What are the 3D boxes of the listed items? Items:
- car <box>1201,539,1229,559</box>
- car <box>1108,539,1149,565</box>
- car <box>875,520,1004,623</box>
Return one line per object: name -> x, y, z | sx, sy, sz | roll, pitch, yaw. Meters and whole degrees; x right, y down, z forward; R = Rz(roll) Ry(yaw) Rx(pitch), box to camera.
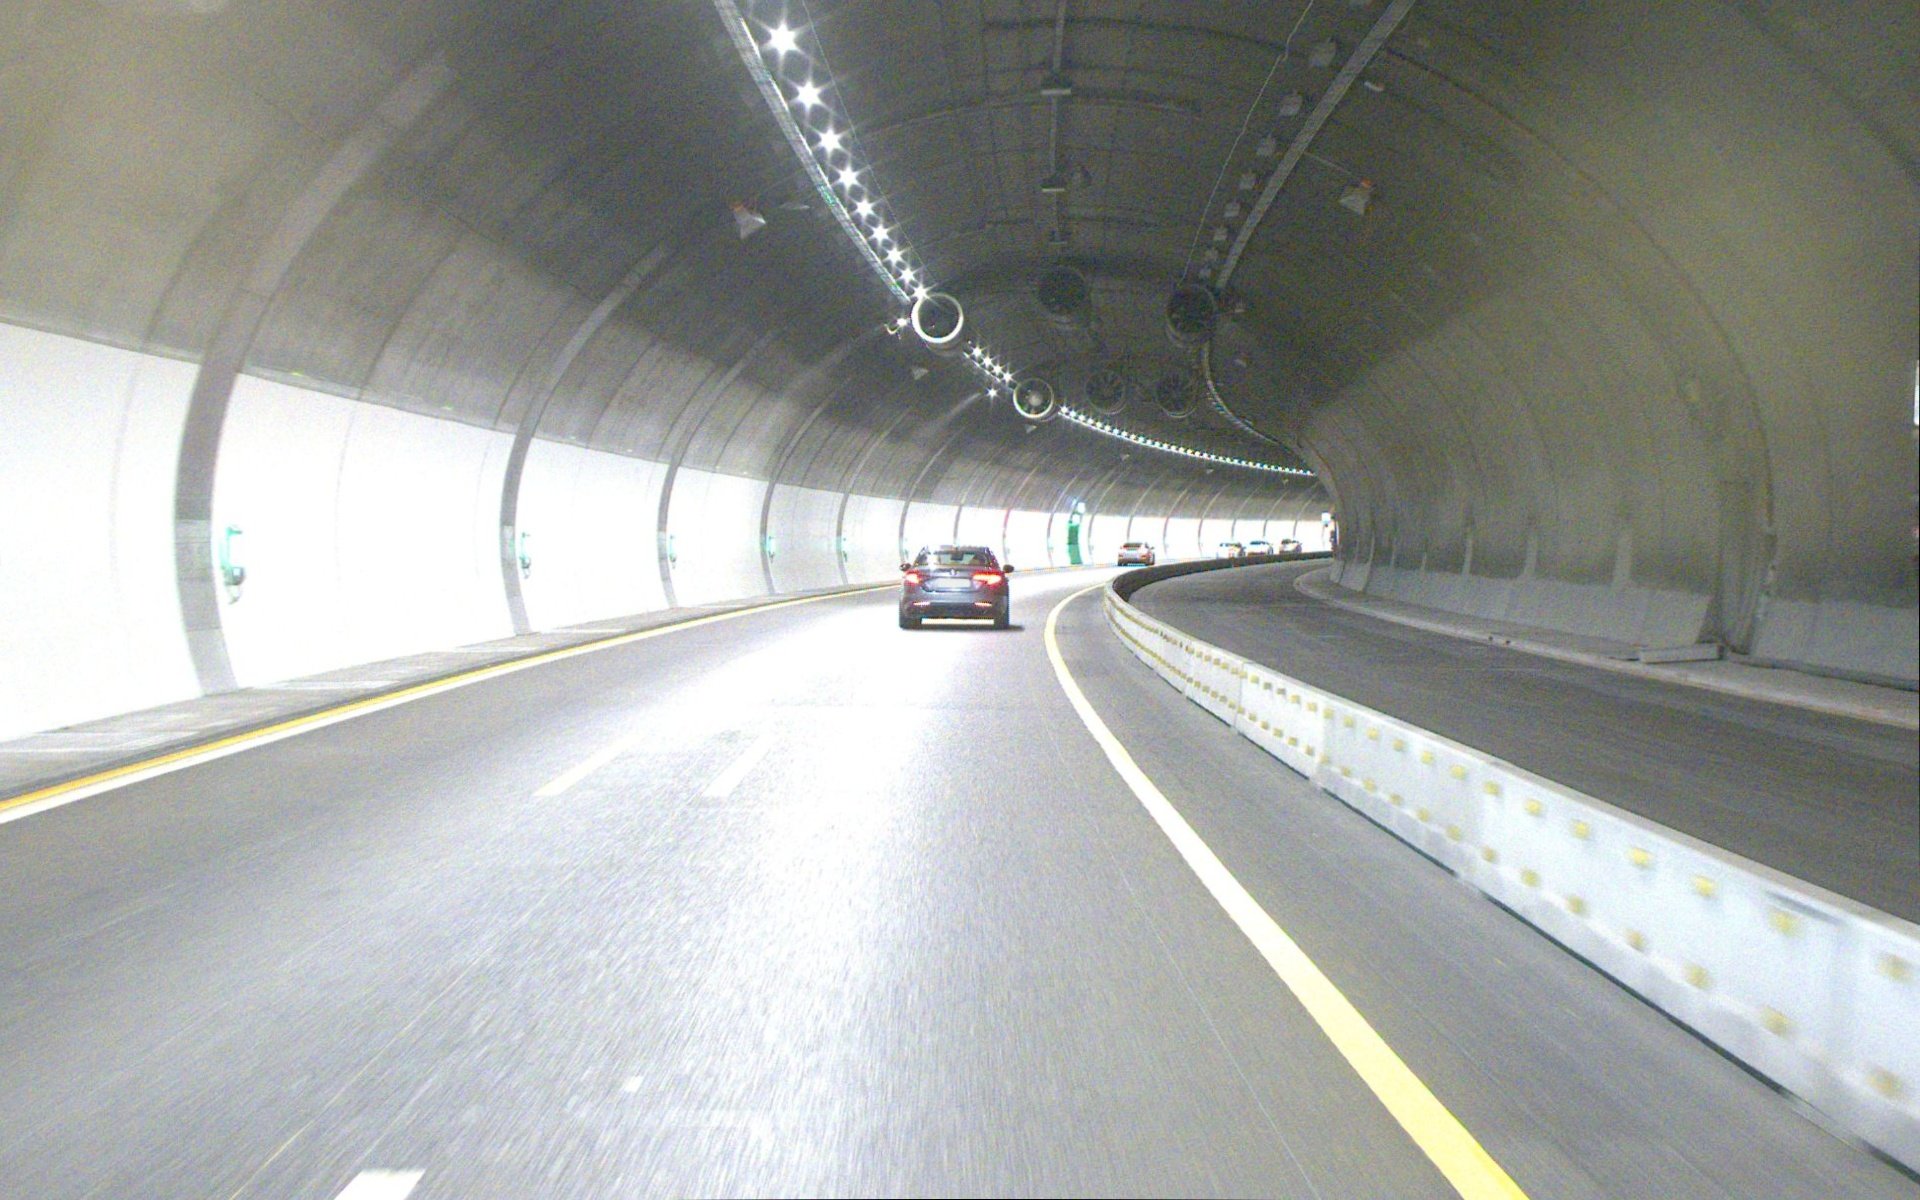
car -> 17.377, -3.456, 234.009 | 1.595, 1.328, 3.749 | 1, 1, 9
car -> 9.978, -2.823, 203.053 | 2.165, 1.481, 3.999 | 0, 1, 6
car -> -0.341, -0.526, 59.237 | 2.141, 1.700, 4.000 | 0, 1, 0
